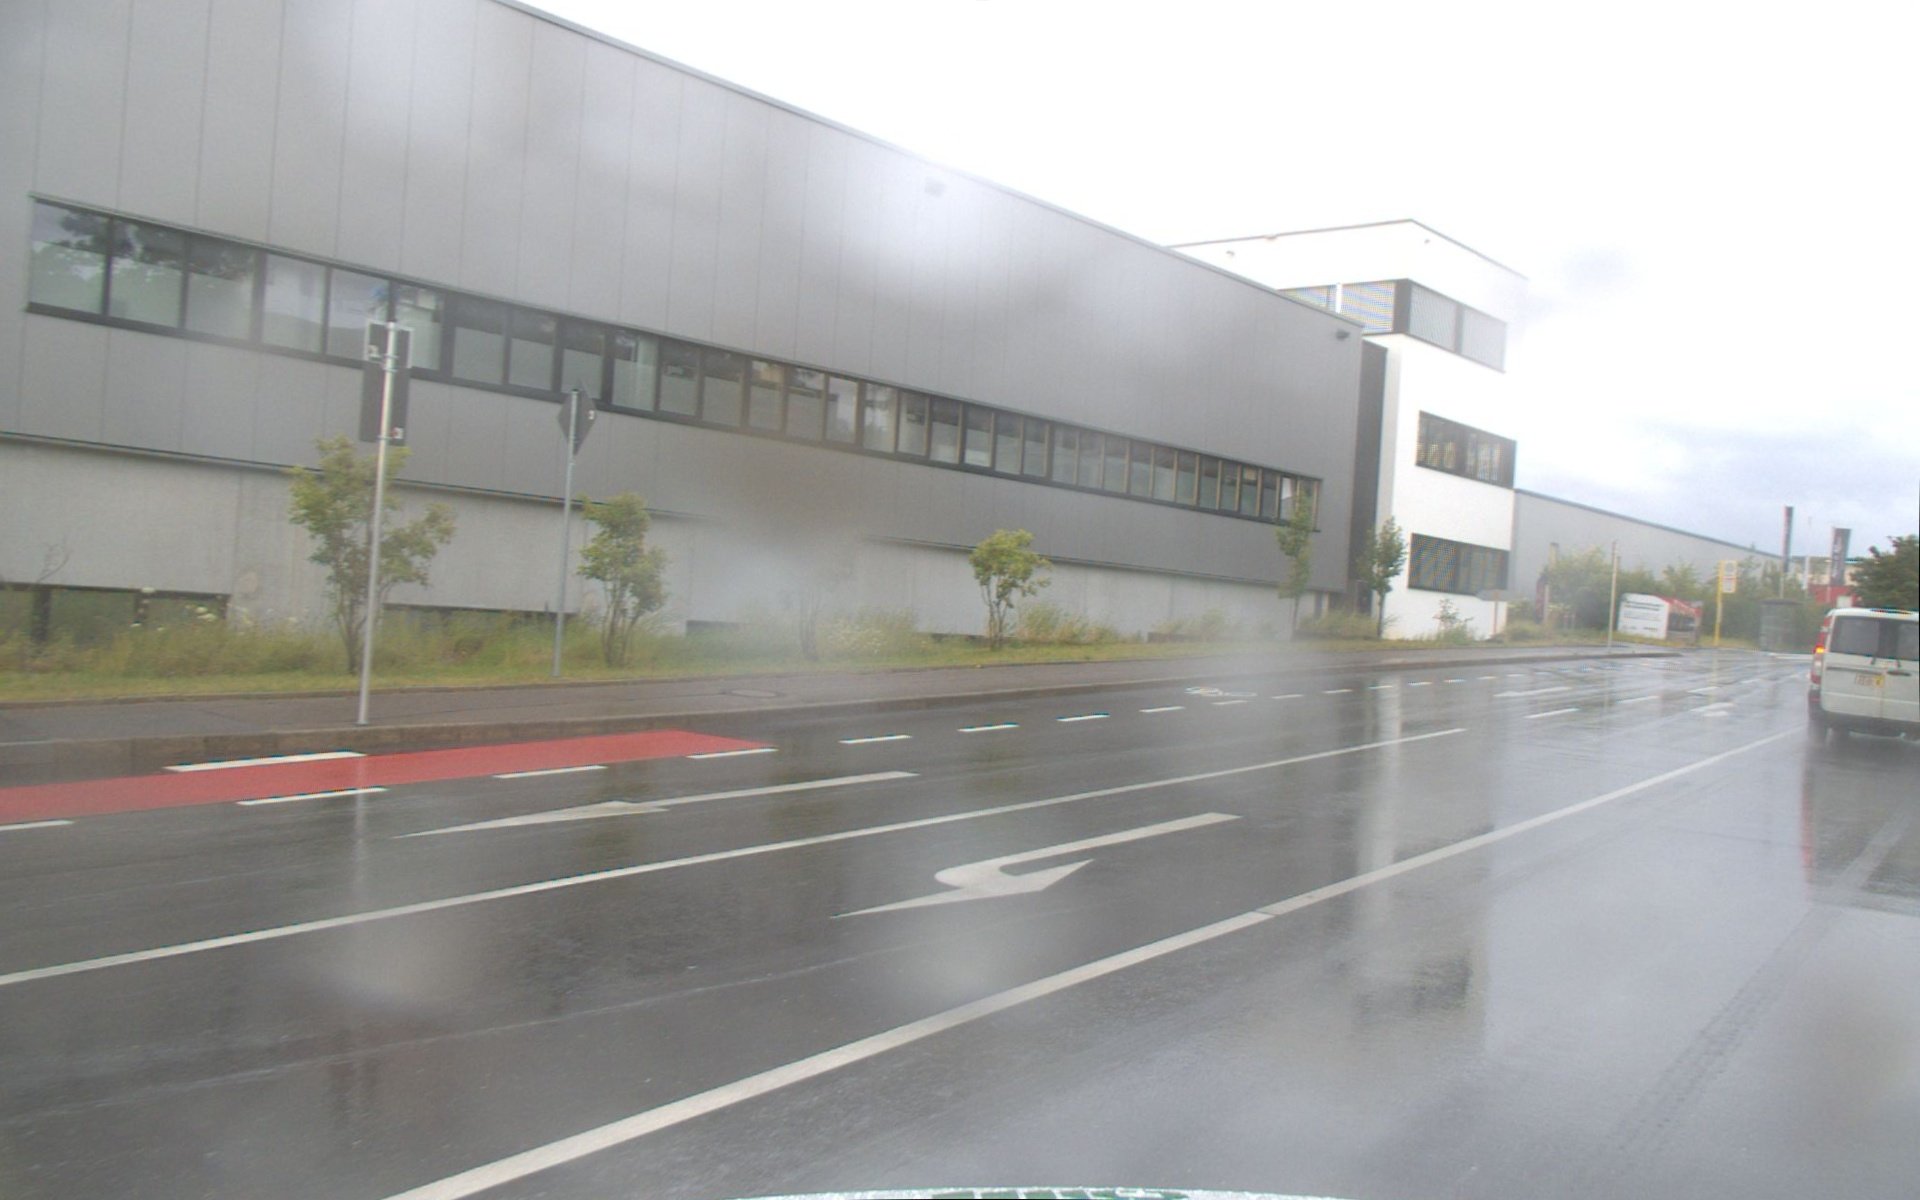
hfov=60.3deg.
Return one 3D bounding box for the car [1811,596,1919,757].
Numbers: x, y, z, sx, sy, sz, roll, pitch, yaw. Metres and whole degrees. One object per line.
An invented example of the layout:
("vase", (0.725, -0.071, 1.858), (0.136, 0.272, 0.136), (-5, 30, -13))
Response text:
("car", (13.573, 1.057, 23.706), (1.865, 2.053, 5.356), (1, -1, 33))
